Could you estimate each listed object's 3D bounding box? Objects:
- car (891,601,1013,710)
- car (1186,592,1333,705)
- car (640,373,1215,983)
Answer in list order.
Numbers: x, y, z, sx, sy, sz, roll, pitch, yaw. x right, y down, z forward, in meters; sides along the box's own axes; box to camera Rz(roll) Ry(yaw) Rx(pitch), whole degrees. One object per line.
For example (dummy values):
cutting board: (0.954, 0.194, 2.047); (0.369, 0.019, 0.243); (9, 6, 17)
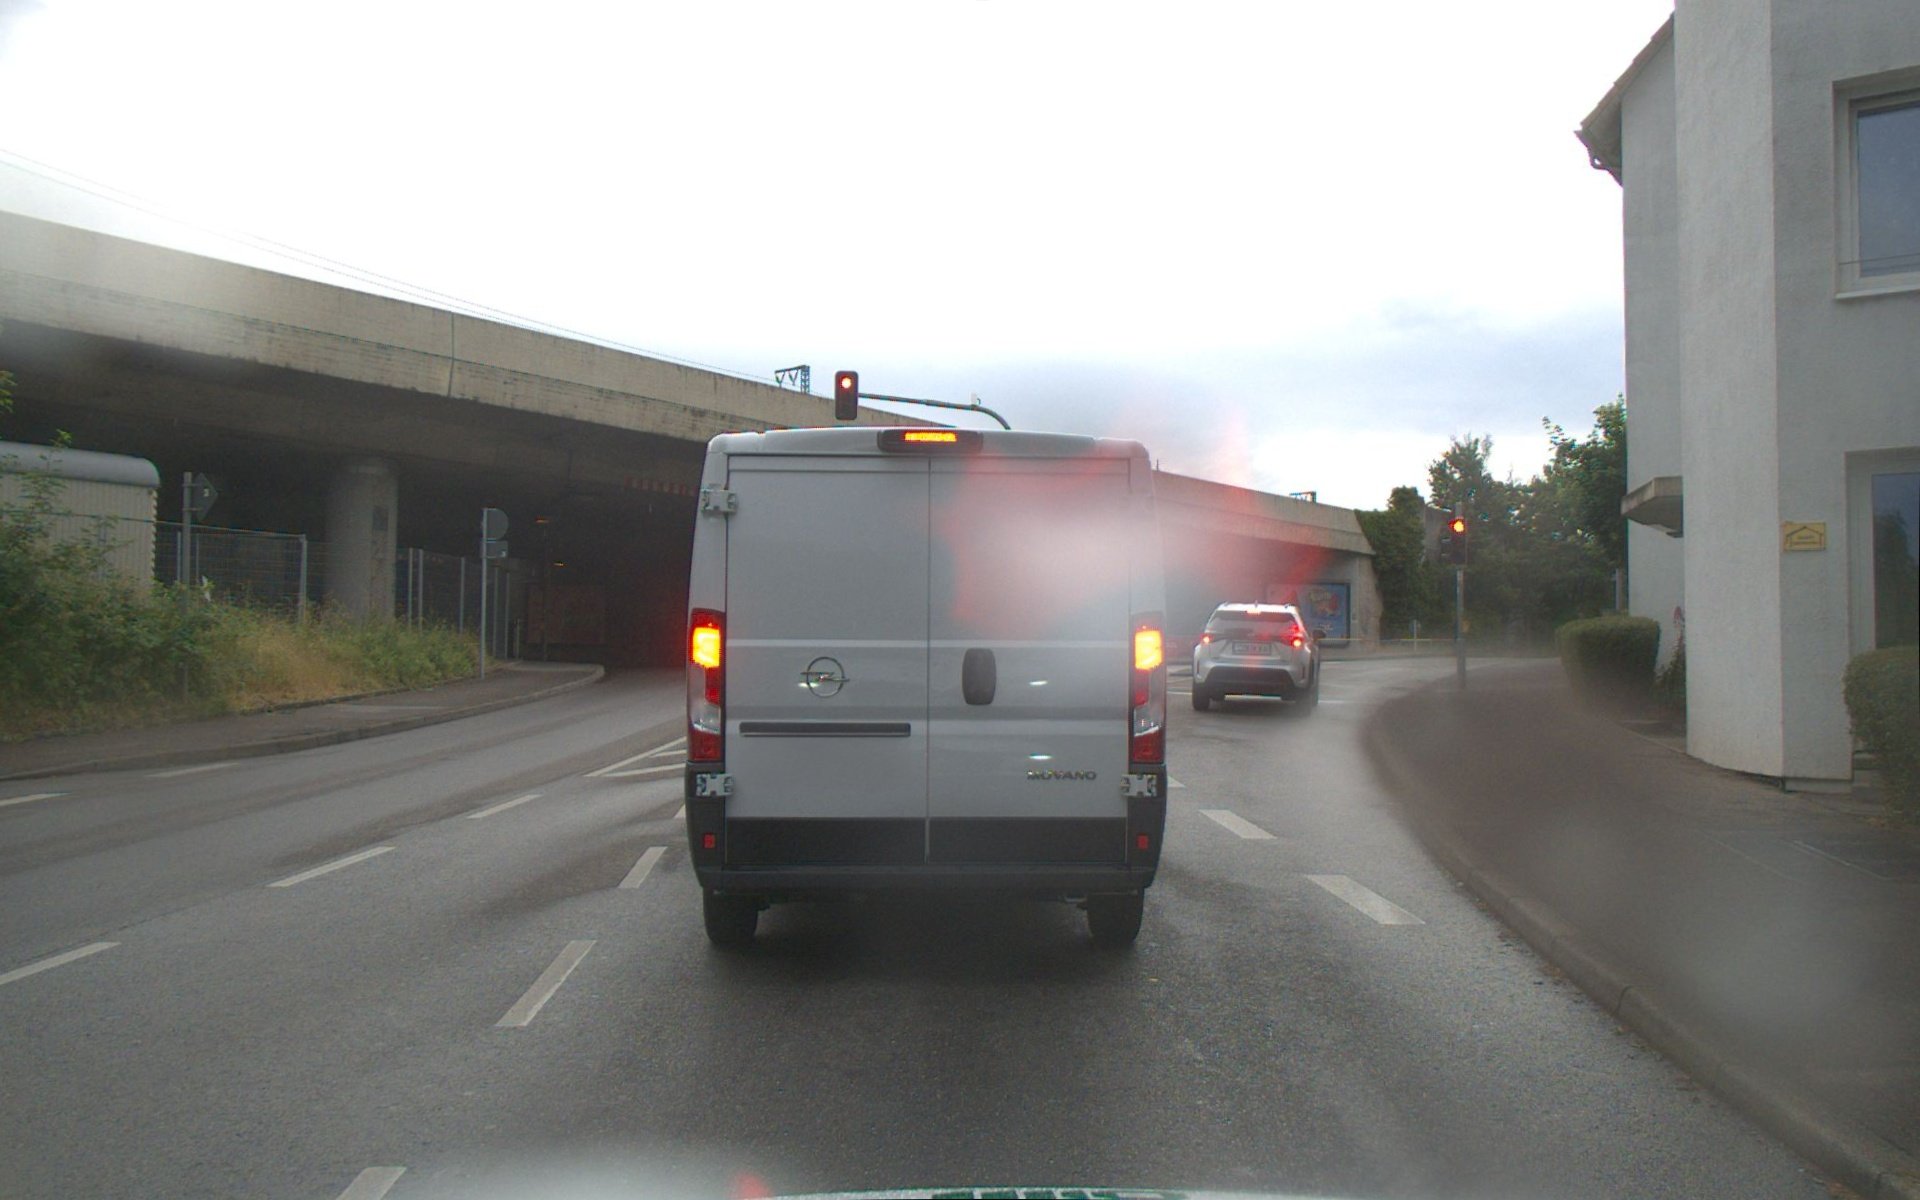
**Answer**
car: (-0.068, 0.951, 28.903); (1.952, 1.759, 4.000); (0, -2, 2)
car: (4.654, 0.716, 25.295); (1.951, 1.576, 4.003); (0, -1, 14)
car: (-0.200, 0.314, 9.150); (2.258, 2.384, 5.280); (0, 0, -2)
